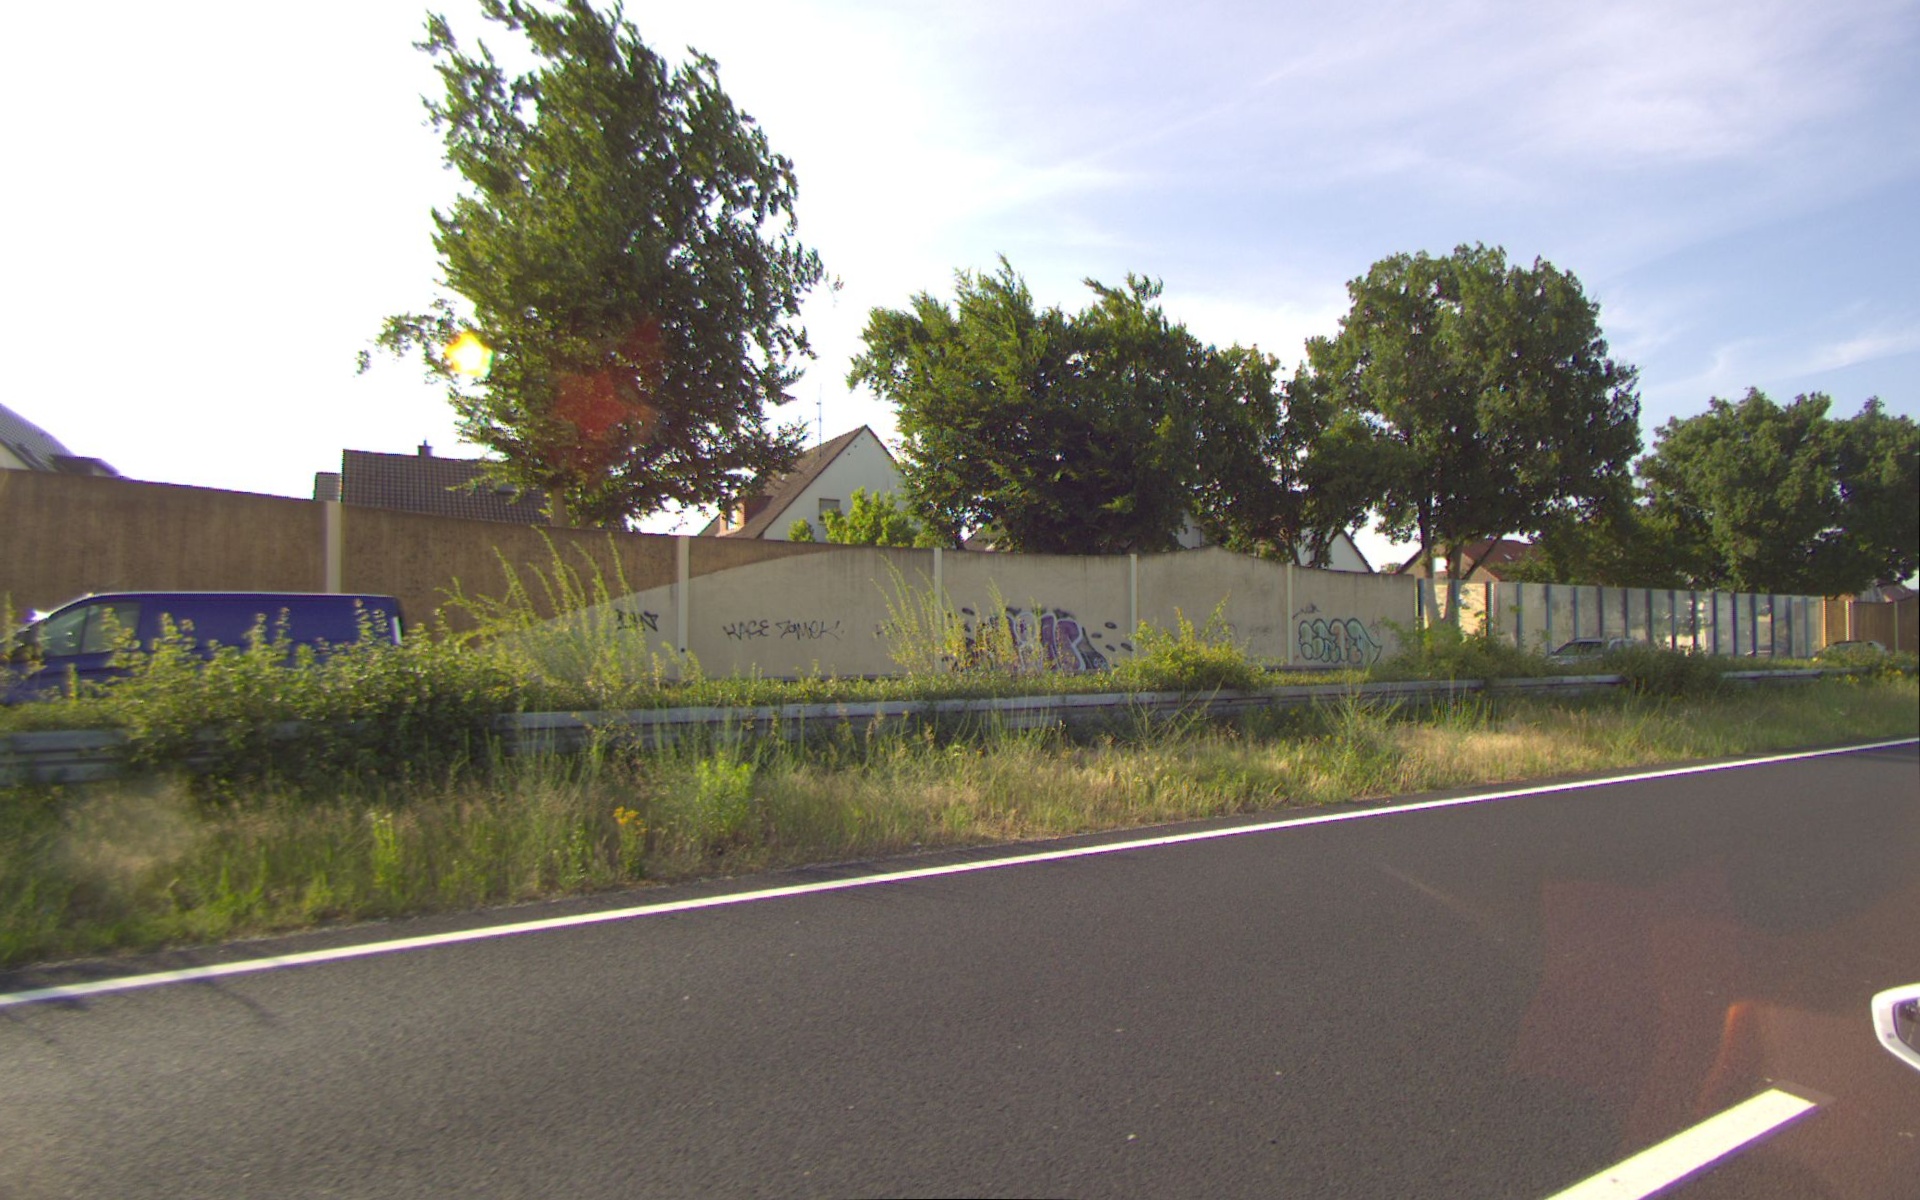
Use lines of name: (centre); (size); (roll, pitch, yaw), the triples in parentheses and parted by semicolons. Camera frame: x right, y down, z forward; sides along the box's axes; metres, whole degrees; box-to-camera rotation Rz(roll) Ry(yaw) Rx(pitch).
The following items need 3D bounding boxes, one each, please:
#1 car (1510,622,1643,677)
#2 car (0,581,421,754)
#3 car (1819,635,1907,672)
car: (18.098, 1.428, 29.463); (3.955, 1.461, 1.745); (2, 0, -32)
car: (-9.316, 0.748, 12.398); (4.626, 1.848, 1.984); (2, 0, -30)
car: (37.099, 2.193, 41.257); (3.565, 1.397, 1.666); (2, 0, -30)
